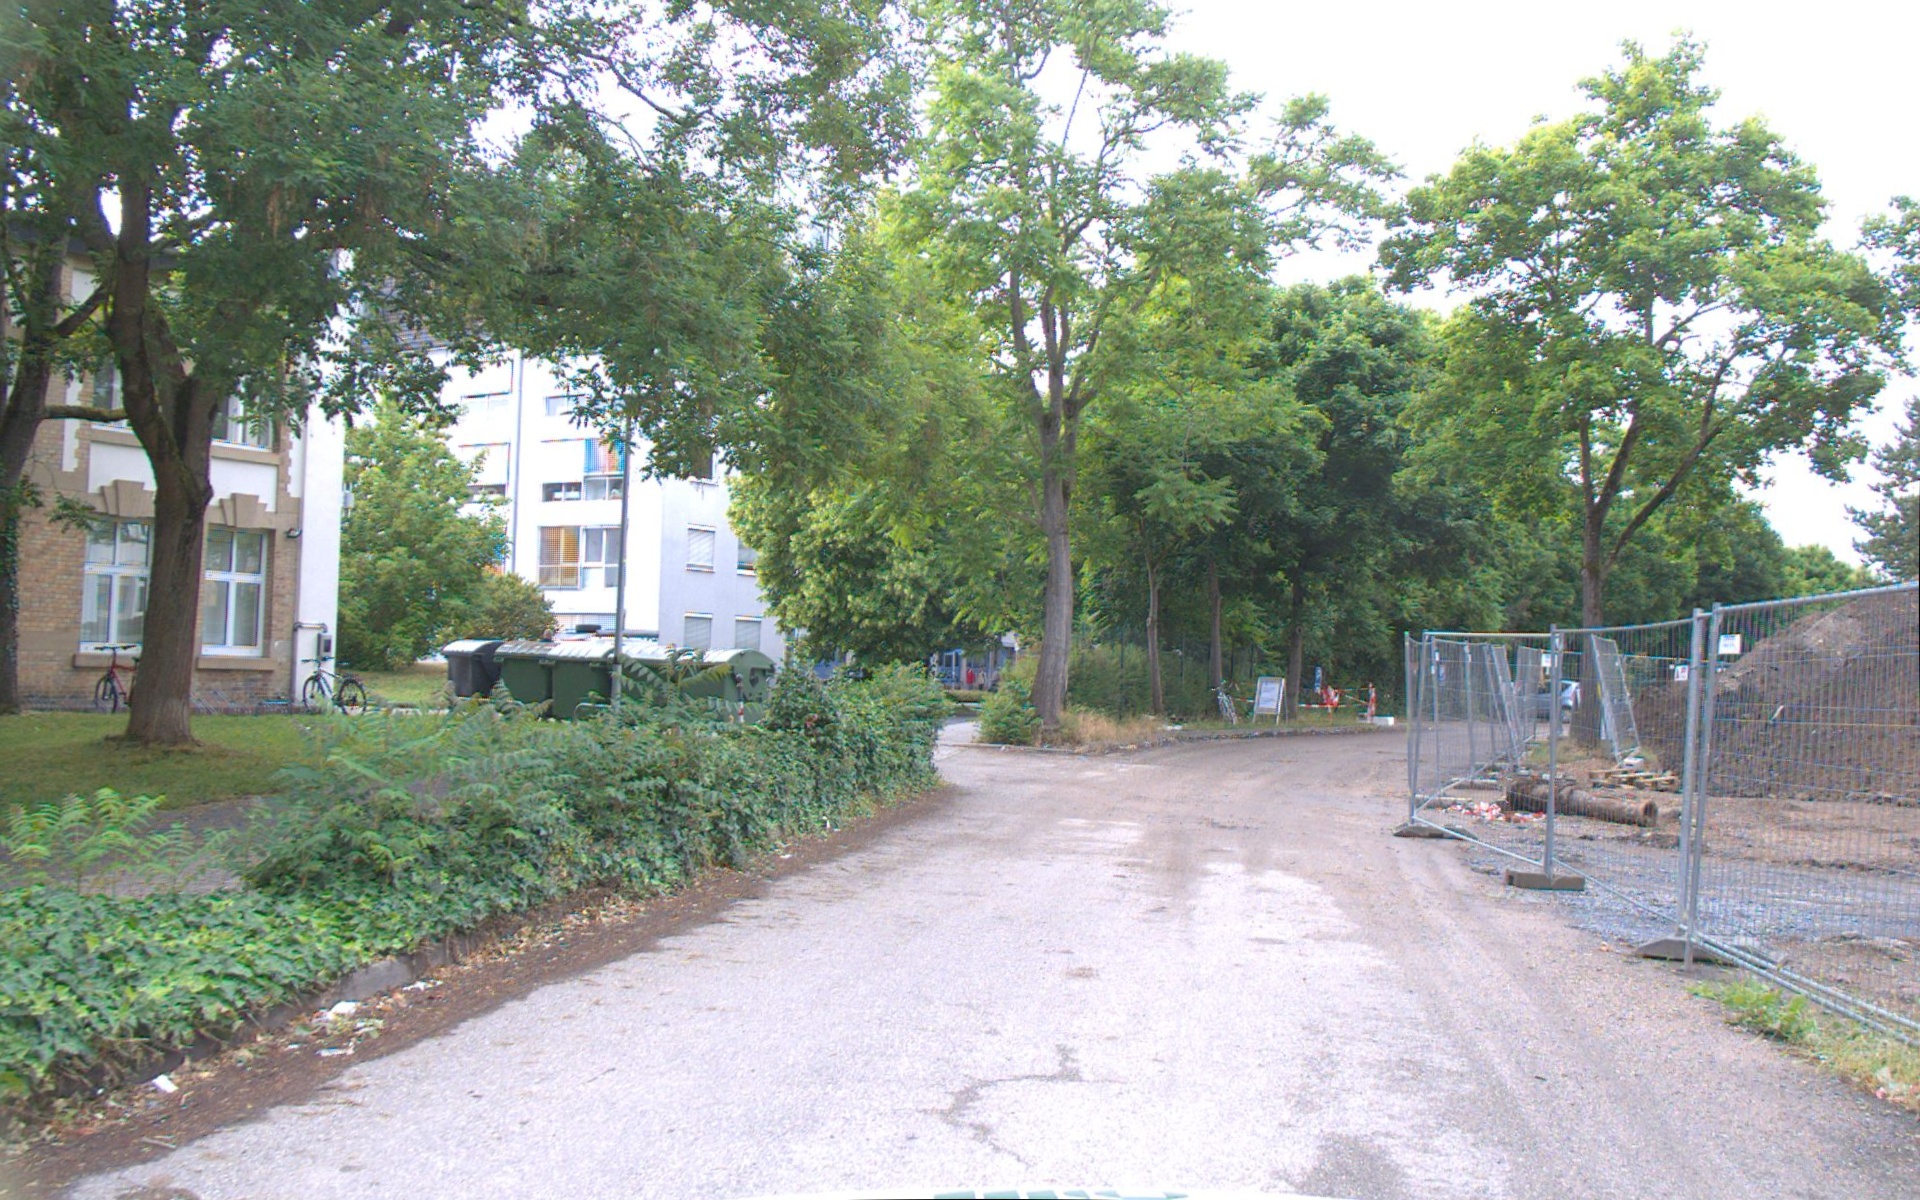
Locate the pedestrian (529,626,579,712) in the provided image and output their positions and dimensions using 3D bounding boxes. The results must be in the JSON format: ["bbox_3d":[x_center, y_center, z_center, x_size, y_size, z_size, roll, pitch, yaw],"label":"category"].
[{"bbox_3d":[-8.765,1.498,35.708,0.683,1.841,0.754,-2,-4,31],"label":"pedestrian"}]

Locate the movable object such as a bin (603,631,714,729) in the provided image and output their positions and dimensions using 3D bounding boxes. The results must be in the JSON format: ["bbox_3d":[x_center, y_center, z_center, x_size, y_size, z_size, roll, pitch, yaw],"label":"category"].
[{"bbox_3d":[-4.758,1.258,26.139,1.324,1.482,1.054,0,-3,30],"label":"movable object such as a bin"}]

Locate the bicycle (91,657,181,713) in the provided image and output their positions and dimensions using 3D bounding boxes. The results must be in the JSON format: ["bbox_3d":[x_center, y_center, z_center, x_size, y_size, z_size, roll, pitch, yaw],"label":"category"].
[{"bbox_3d":[-13.266,1.355,26.595,1.910,0.828,0.615,0,-3,42],"label":"bicycle"}]

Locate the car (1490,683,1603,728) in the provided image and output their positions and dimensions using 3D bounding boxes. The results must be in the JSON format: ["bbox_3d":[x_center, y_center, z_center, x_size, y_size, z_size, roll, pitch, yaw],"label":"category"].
[{"bbox_3d":[22.194,3.989,62.653,3.640,1.527,1.859,0,-2,38],"label":"car"}]

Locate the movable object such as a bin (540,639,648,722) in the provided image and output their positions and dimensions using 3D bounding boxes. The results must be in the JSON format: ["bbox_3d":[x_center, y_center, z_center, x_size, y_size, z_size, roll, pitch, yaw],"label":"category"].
[{"bbox_3d":[-5.956,1.298,26.958,1.324,1.287,1.054,1,-2,30],"label":"movable object such as a bin"}]

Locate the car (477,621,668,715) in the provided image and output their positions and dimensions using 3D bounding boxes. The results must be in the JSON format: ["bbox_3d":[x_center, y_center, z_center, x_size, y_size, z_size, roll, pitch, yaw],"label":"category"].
[{"bbox_3d":[-8.974,1.622,38.650,1.814,2.049,4.341,-1,-4,31],"label":"car"}]

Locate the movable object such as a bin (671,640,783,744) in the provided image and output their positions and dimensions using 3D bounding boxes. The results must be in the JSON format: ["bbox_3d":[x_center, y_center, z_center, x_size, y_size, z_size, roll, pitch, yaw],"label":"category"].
[{"bbox_3d":[-3.567,1.395,25.310,1.332,1.475,1.048,2,-2,44],"label":"movable object such as a bin"}]

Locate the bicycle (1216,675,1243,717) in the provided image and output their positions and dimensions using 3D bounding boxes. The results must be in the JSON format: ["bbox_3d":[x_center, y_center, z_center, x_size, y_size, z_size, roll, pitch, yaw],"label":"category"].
[{"bbox_3d":[6.143,2.170,37.676,0.410,0.921,1.154,1,-2,19],"label":"bicycle"}]

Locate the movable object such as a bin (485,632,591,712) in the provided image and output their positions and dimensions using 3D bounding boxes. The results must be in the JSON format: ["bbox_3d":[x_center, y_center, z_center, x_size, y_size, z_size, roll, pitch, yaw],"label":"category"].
[{"bbox_3d":[-7.108,1.208,27.867,1.323,1.287,1.054,1,-2,27],"label":"movable object such as a bin"}]

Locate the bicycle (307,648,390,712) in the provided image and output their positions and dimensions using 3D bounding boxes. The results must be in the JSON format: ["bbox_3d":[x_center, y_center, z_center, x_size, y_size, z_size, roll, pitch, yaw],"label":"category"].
[{"bbox_3d":[-11.006,1.438,29.749,1.790,1.084,0.395,0,-3,34],"label":"bicycle"}]

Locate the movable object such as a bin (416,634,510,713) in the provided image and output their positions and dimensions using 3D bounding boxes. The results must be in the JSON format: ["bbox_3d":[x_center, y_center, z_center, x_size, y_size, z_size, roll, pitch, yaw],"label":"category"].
[{"bbox_3d":[-8.532,1.259,28.402,1.047,1.287,1.333,4,-3,-42],"label":"movable object such as a bin"}]
